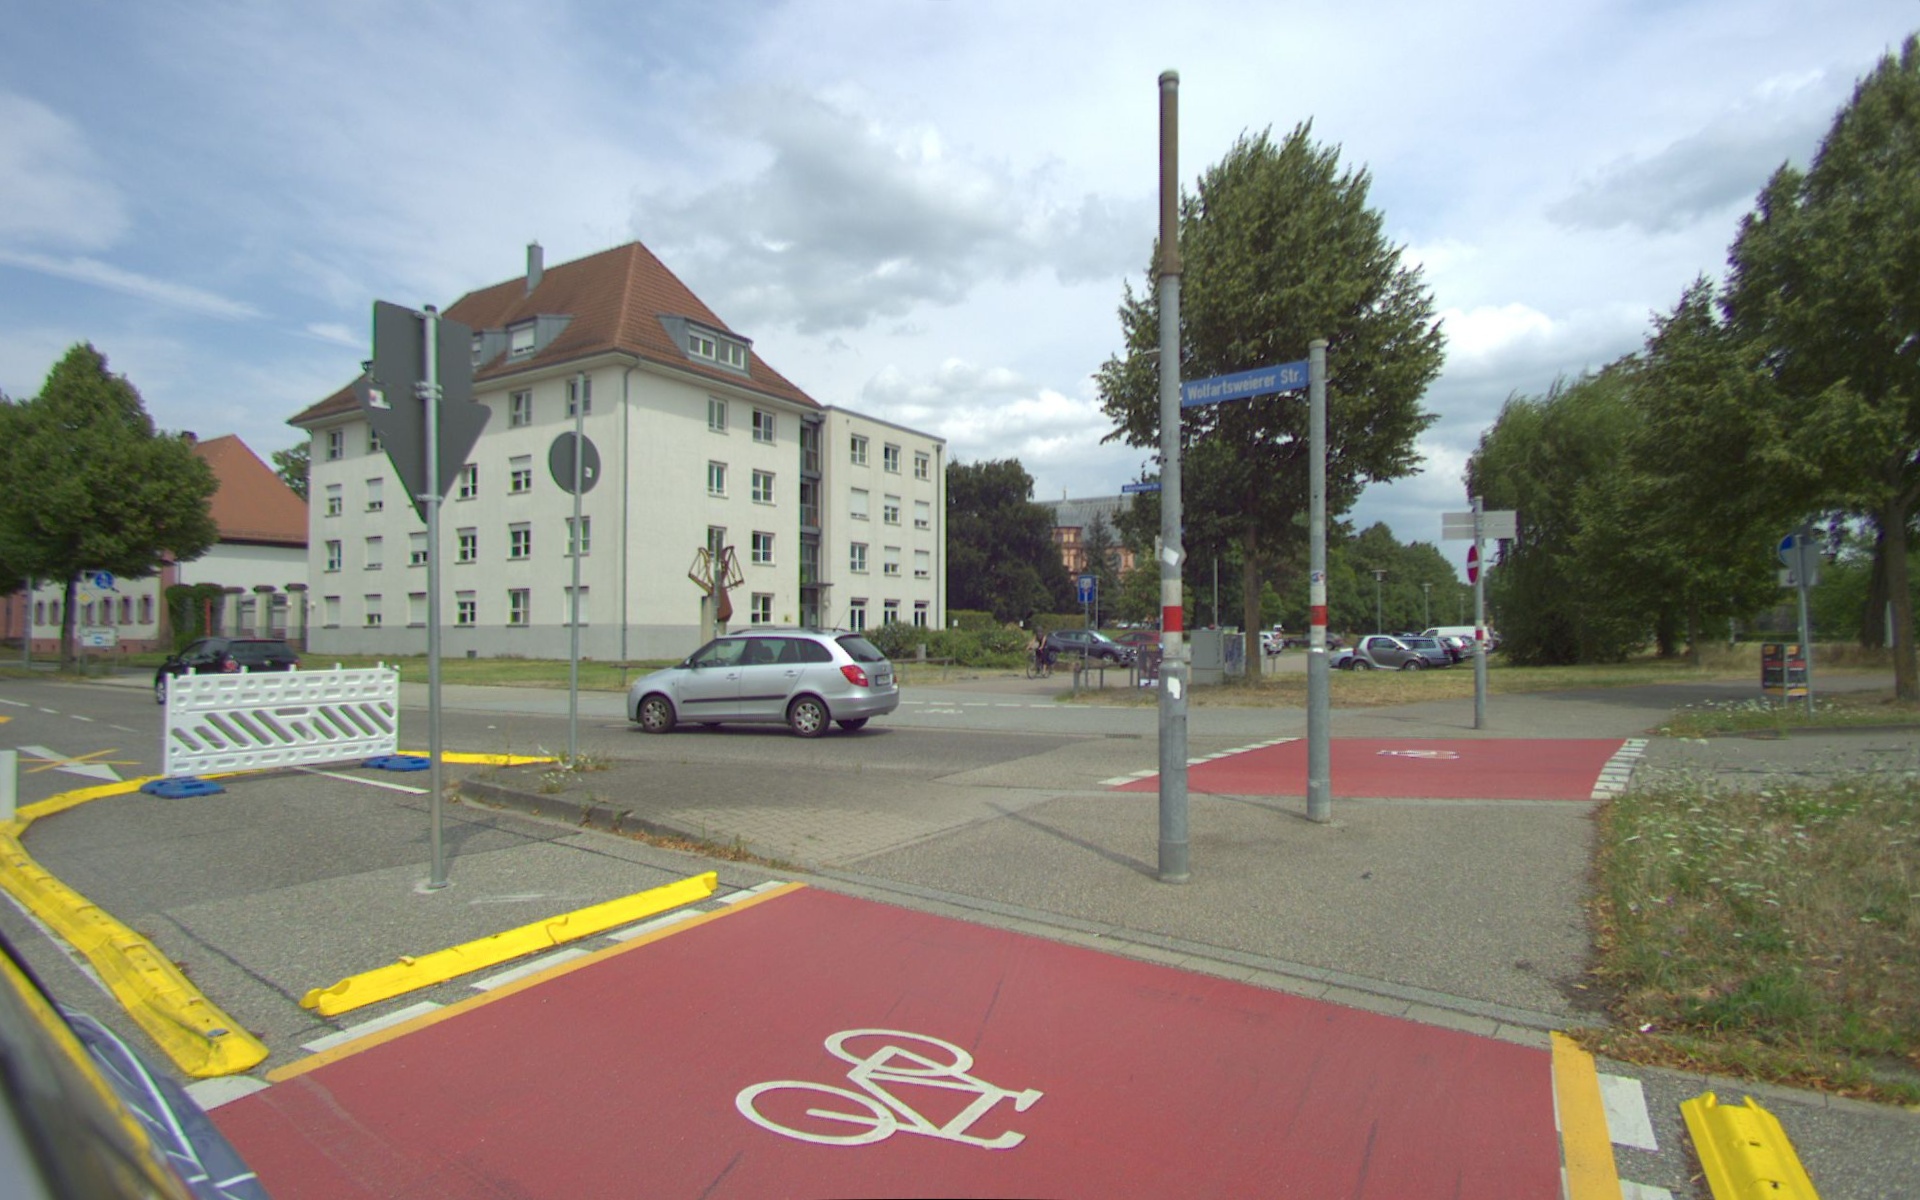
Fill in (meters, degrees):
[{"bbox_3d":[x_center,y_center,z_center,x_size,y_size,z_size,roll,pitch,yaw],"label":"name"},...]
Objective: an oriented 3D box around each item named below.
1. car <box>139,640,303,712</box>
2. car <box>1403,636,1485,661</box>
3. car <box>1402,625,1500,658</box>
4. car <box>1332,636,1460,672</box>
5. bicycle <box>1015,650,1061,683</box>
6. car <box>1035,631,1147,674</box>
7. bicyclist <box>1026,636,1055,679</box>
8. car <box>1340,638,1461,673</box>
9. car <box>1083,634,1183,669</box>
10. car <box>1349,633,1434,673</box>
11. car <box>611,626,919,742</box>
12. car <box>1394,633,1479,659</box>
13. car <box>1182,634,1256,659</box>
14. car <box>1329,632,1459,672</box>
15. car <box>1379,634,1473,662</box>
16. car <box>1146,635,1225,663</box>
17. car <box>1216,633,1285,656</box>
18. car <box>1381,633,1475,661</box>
[{"bbox_3d":[-15.937,1.608,21.787,3.711,1.426,1.613,-2,-4,33],"label":"car"},{"bbox_3d":[29.181,2.912,61.065,4.298,1.482,1.813,-1,-2,32],"label":"car"},{"bbox_3d":[31.685,2.689,65.408,5.548,2.072,2.178,-1,-2,30],"label":"car"},{"bbox_3d":[18.985,2.323,44.158,4.873,1.482,1.813,-1,-2,33],"label":"car"},{"bbox_3d":[2.604,2.200,33.654,0.601,1.054,1.805,-2,-3,39],"label":"bicycle"},{"bbox_3d":[5.743,2.272,44.521,4.484,1.778,1.979,-1,-2,31],"label":"car"},{"bbox_3d":[2.686,1.911,33.776,0.601,1.434,0.793,-2,-3,39],"label":"bicyclist"},{"bbox_3d":[20.108,2.510,46.254,4.873,1.482,1.813,-1,-2,33],"label":"car"},{"bbox_3d":[8.396,2.487,49.274,4.394,1.610,1.977,-2,-2,33],"label":"car"},{"bbox_3d":[16.773,2.061,39.357,2.900,1.434,1.471,-4,-4,26],"label":"car"},{"bbox_3d":[-2.828,1.172,14.781,4.184,1.530,1.619,-1,-2,18],"label":"car"},{"bbox_3d":[27.730,2.650,58.916,4.298,1.482,1.813,-1,-2,32],"label":"car"},{"bbox_3d":[15.612,2.798,61.019,3.993,1.479,1.798,-1,-2,31],"label":"car"},{"bbox_3d":[17.827,2.150,41.657,4.687,1.482,1.815,-4,-3,30],"label":"car"},{"bbox_3d":[25.072,2.567,54.501,4.373,1.482,1.813,-1,-2,33],"label":"car"},{"bbox_3d":[12.451,2.680,55.980,3.993,1.479,1.598,-1,-2,31],"label":"car"},{"bbox_3d":[19.038,2.915,66.396,3.993,1.479,1.798,-1,-2,31],"label":"car"},{"bbox_3d":[26.280,2.617,56.847,4.590,1.482,1.813,-1,-2,33],"label":"car"}]
